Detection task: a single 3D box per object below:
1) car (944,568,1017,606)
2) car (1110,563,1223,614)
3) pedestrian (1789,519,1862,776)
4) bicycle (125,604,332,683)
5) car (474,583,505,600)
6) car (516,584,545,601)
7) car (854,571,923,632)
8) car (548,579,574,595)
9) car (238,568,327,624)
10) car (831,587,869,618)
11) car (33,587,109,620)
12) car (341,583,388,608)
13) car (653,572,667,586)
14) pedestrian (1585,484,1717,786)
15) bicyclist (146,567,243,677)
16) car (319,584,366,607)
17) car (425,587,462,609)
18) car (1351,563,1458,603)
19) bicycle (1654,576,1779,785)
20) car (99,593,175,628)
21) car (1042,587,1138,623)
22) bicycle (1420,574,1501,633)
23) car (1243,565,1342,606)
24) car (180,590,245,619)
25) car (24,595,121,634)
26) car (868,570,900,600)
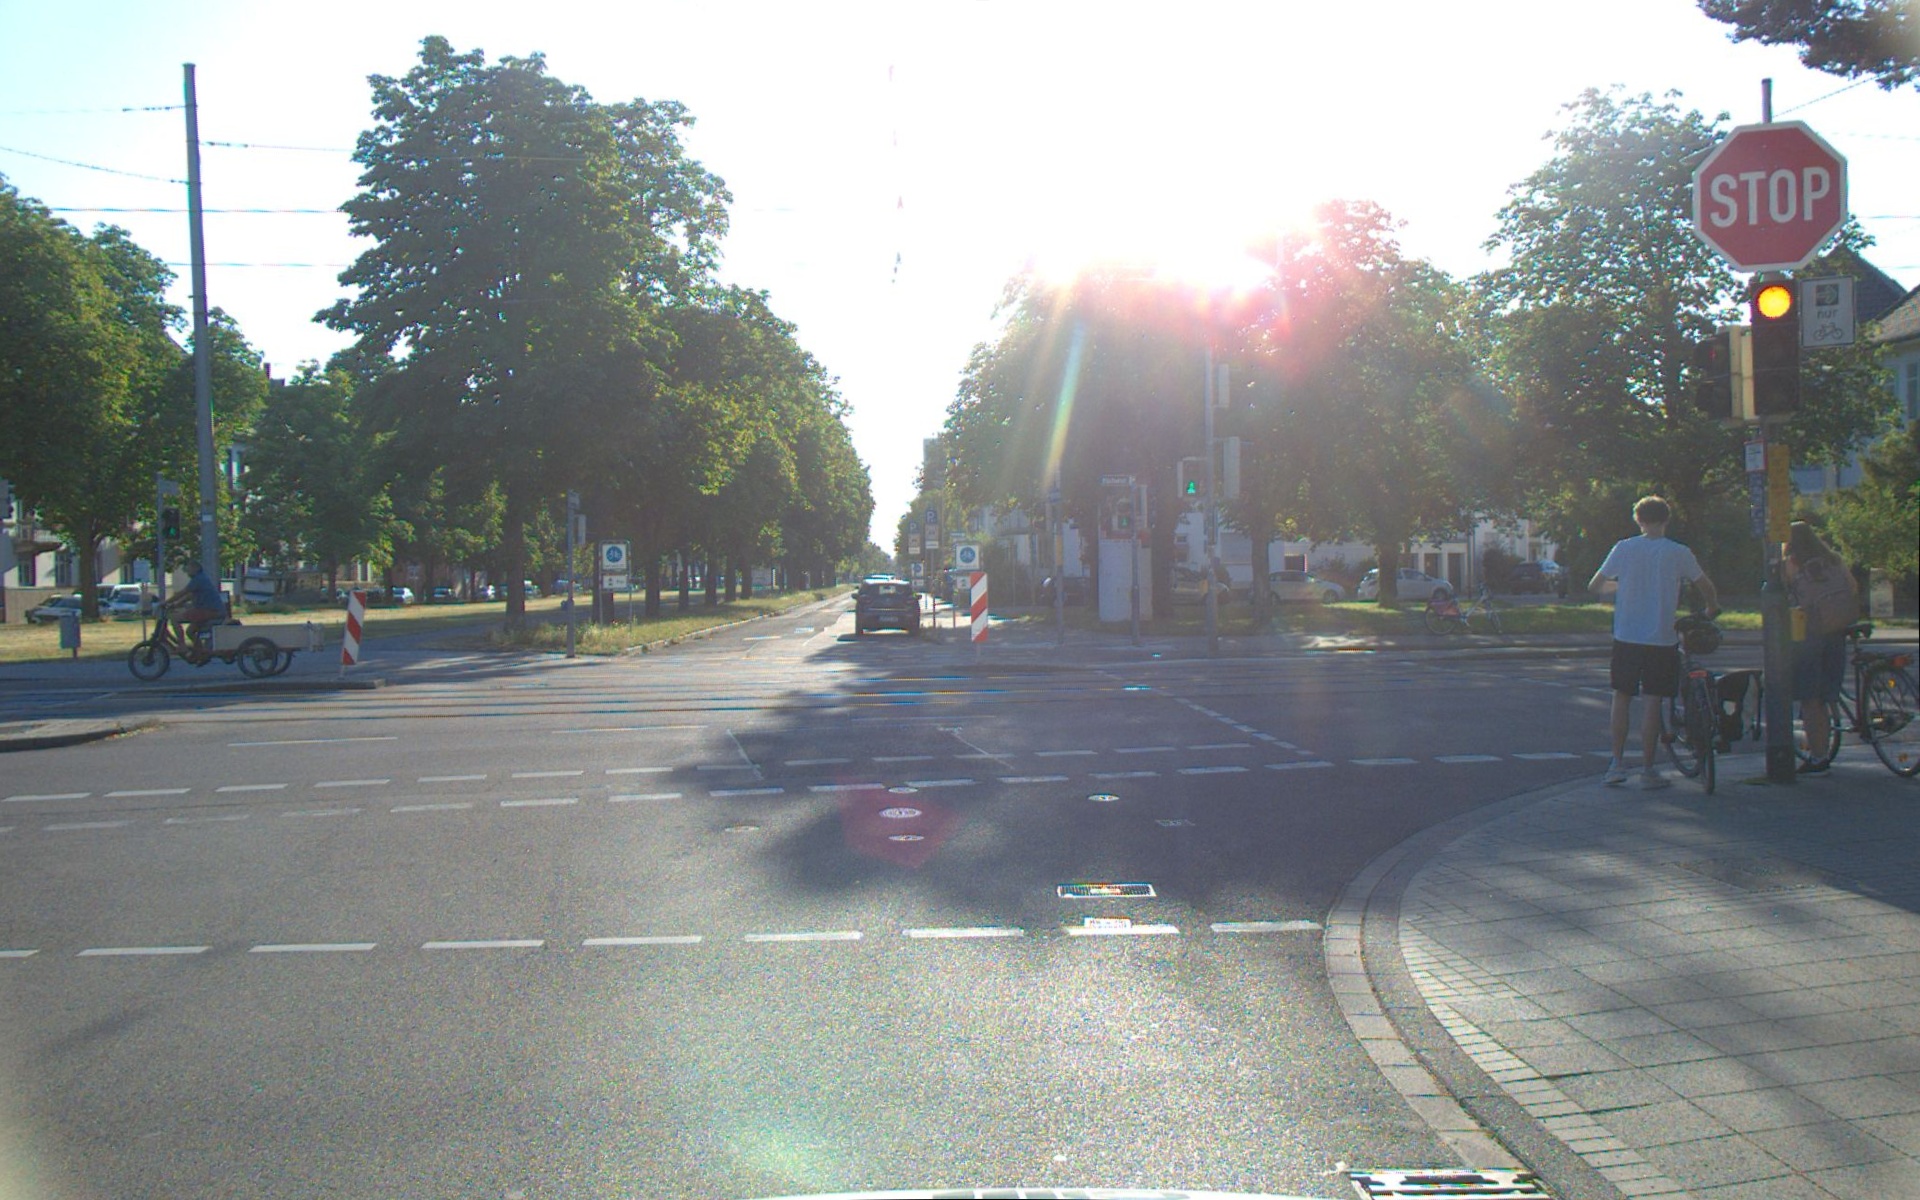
[{"bbox_3d":[1.152,-0.718,93.620,3.911,1.854,1.757,-2,-5,-7],"label":"car"},{"bbox_3d":[8.175,-0.440,65.684,4.157,1.908,2.029,-1,0,-3],"label":"car"},{"bbox_3d":[5.570,0.296,10.655,0.342,1.613,0.462,1,-1,20],"label":"pedestrian"},{"bbox_3d":[-12.035,0.712,27.256,3.009,1.182,0.875,-2,0,2],"label":"bicycle"},{"bbox_3d":[-48.901,-0.885,171.912,1.953,1.688,4.354,1,0,-1],"label":"car"},{"bbox_3d":[-43.321,-0.750,166.882,1.982,1.688,3.982,1,0,-2],"label":"car"},{"bbox_3d":[-1.875,0.040,44.509,1.690,1.537,4.539,1,0,-1],"label":"car"},{"bbox_3d":[-44.881,-1.496,186.204,1.954,1.688,4.568,-1,1,-3],"label":"car"},{"bbox_3d":[-41.074,-0.298,100.500,2.344,3.185,7.850,1,1,-2],"label":"car"},{"bbox_3d":[-5.176,0.128,78.227,1.675,1.383,4.201,1,0,-2],"label":"car"},{"bbox_3d":[-45.938,0.191,85.583,1.681,1.661,4.190,1,0,-1],"label":"car"},{"bbox_3d":[-41.742,-0.278,115.989,1.841,1.703,4.313,1,0,-2],"label":"car"},{"bbox_3d":[-45.997,-3.204,253.306,1.621,1.972,3.565,1,-1,-3],"label":"car"},{"bbox_3d":[4.565,0.225,10.975,0.614,1.899,0.775,-4,0,18],"label":"pedestrian"},{"bbox_3d":[-12.606,0.359,27.264,1.121,1.753,0.875,-2,0,2],"label":"bicyclist"},{"bbox_3d":[-46.976,-0.325,125.977,1.953,1.688,4.373,1,0,-1],"label":"car"},{"bbox_3d":[-42.493,-0.155,136.154,1.775,1.812,4.121,1,0,-2],"label":"car"},{"bbox_3d":[17.786,-0.675,66.265,3.847,1.550,1.521,0,-1,-8],"label":"car"},{"bbox_3d":[4.797,0.454,10.576,0.560,1.204,1.906,1,1,20],"label":"bicycle"},{"bbox_3d":[-40.240,0.485,80.952,1.760,1.581,4.416,1,1,-4],"label":"car"},{"bbox_3d":[5.524,0.224,70.741,3.907,1.472,1.715,-1,0,-3],"label":"car"},{"bbox_3d":[10.009,0.070,33.111,1.489,1.108,0.468,-1,4,7],"label":"bicycle"},{"bbox_3d":[13.147,-0.587,65.466,3.487,1.542,1.602,-1,0,-8],"label":"car"},{"bbox_3d":[-46.093,0.290,102.061,1.953,1.688,4.569,1,0,-1],"label":"car"},{"bbox_3d":[-40.205,0.664,75.038,1.953,1.688,4.569,1,0,-1],"label":"car"},{"bbox_3d":[-4.792,-0.932,103.653,1.954,1.812,3.998,1,1,-3],"label":"car"}]
